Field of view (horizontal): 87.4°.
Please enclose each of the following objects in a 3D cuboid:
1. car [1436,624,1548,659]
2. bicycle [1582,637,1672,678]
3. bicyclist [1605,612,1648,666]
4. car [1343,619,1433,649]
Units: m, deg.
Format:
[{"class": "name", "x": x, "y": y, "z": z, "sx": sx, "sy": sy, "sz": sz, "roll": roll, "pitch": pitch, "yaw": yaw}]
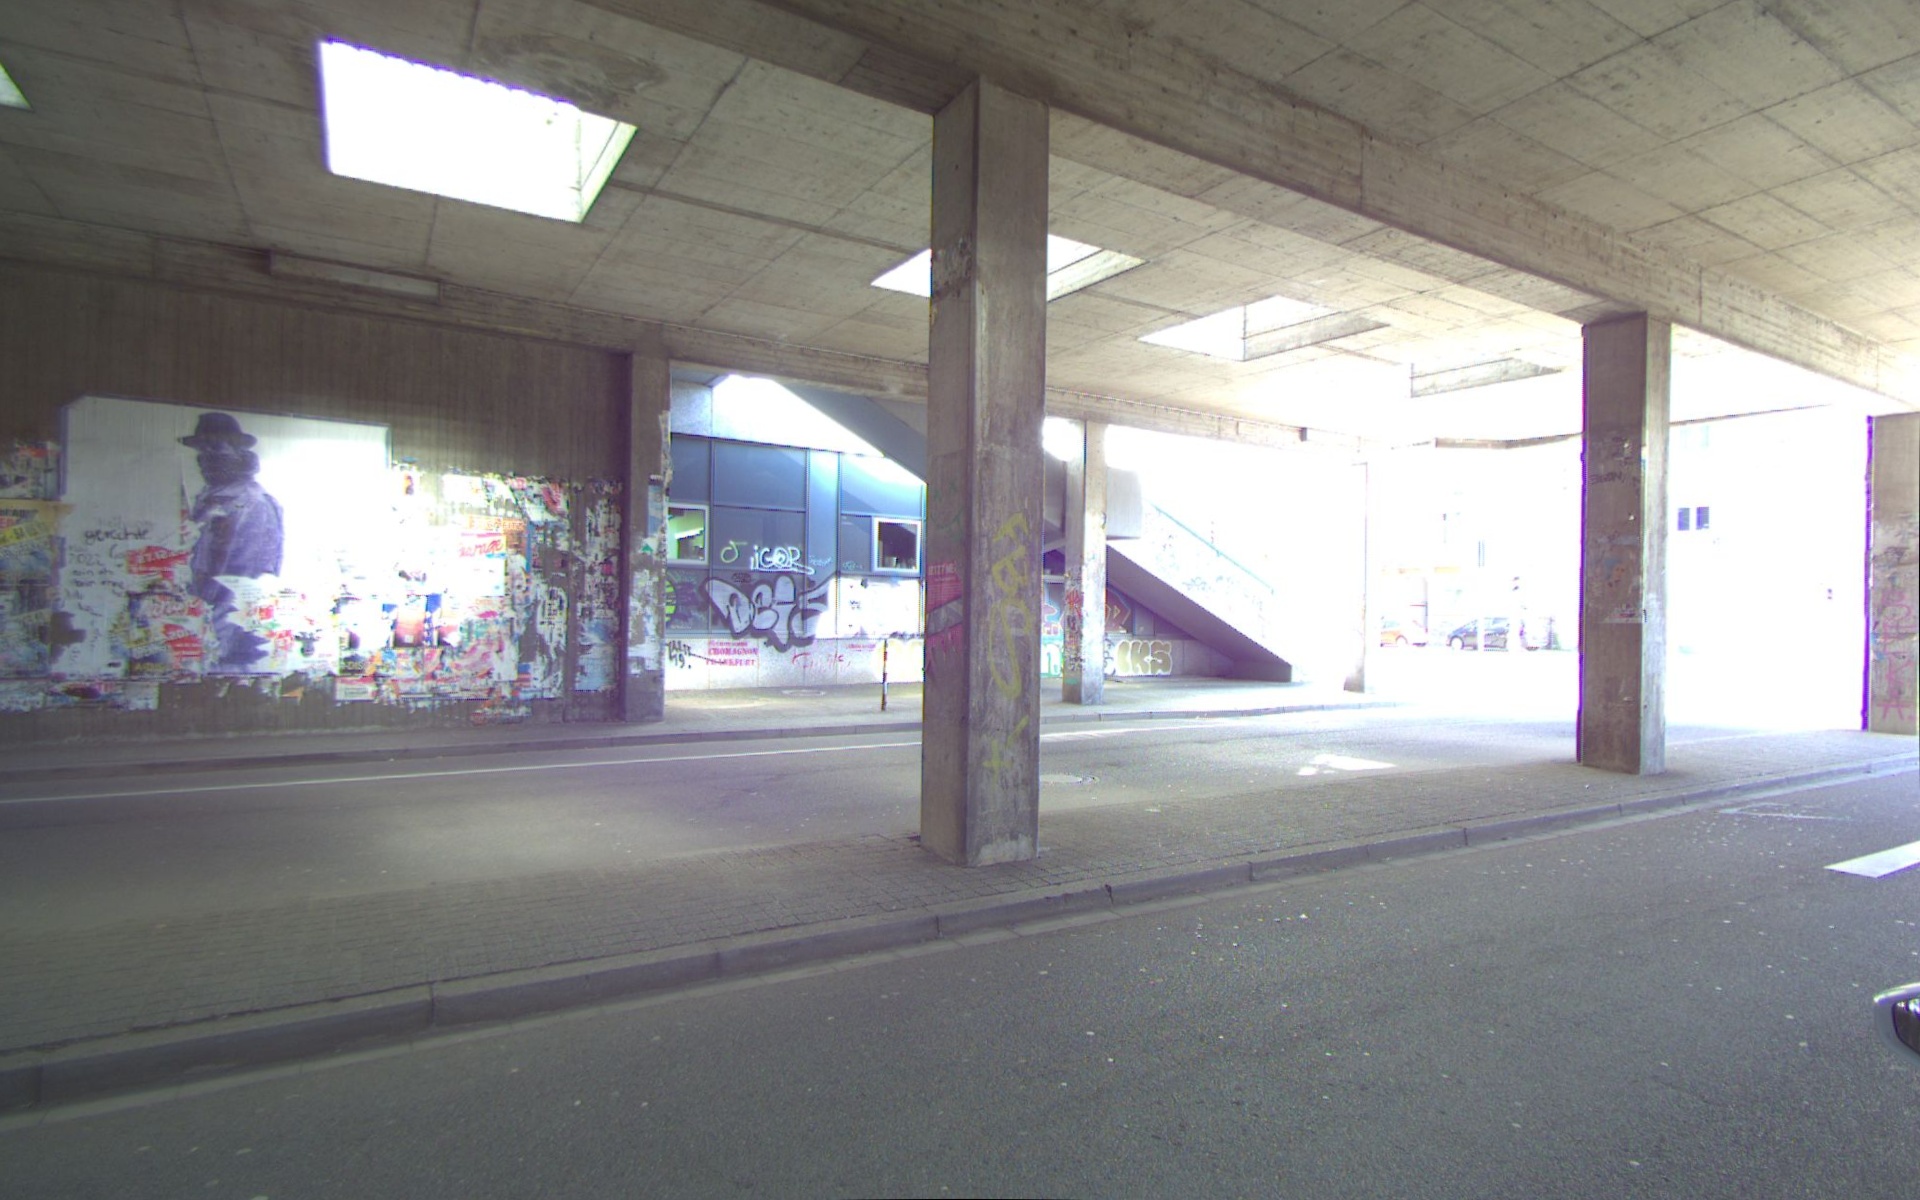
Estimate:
[{"class": "car", "x": 25.227, "y": 1.947, "z": 47.772, "sx": 1.905, "sy": 1.428, "sz": 4.382, "roll": 2, "pitch": 0, "yaw": -32}, {"class": "bicycle", "x": 18.088, "y": 1.547, "z": 27.292, "sx": 0.708, "sy": 1.063, "sz": 1.986, "roll": 2, "pitch": -2, "yaw": -22}, {"class": "bicyclist", "x": 18.116, "y": 1.053, "z": 27.316, "sx": 0.675, "sy": 1.442, "sz": 0.736, "roll": 2, "pitch": -2, "yaw": -23}, {"class": "car", "x": 22.438, "y": 1.756, "z": 52.759, "sx": 1.905, "sy": 1.428, "sz": 3.965, "roll": 2, "pitch": 0, "yaw": -32}]
